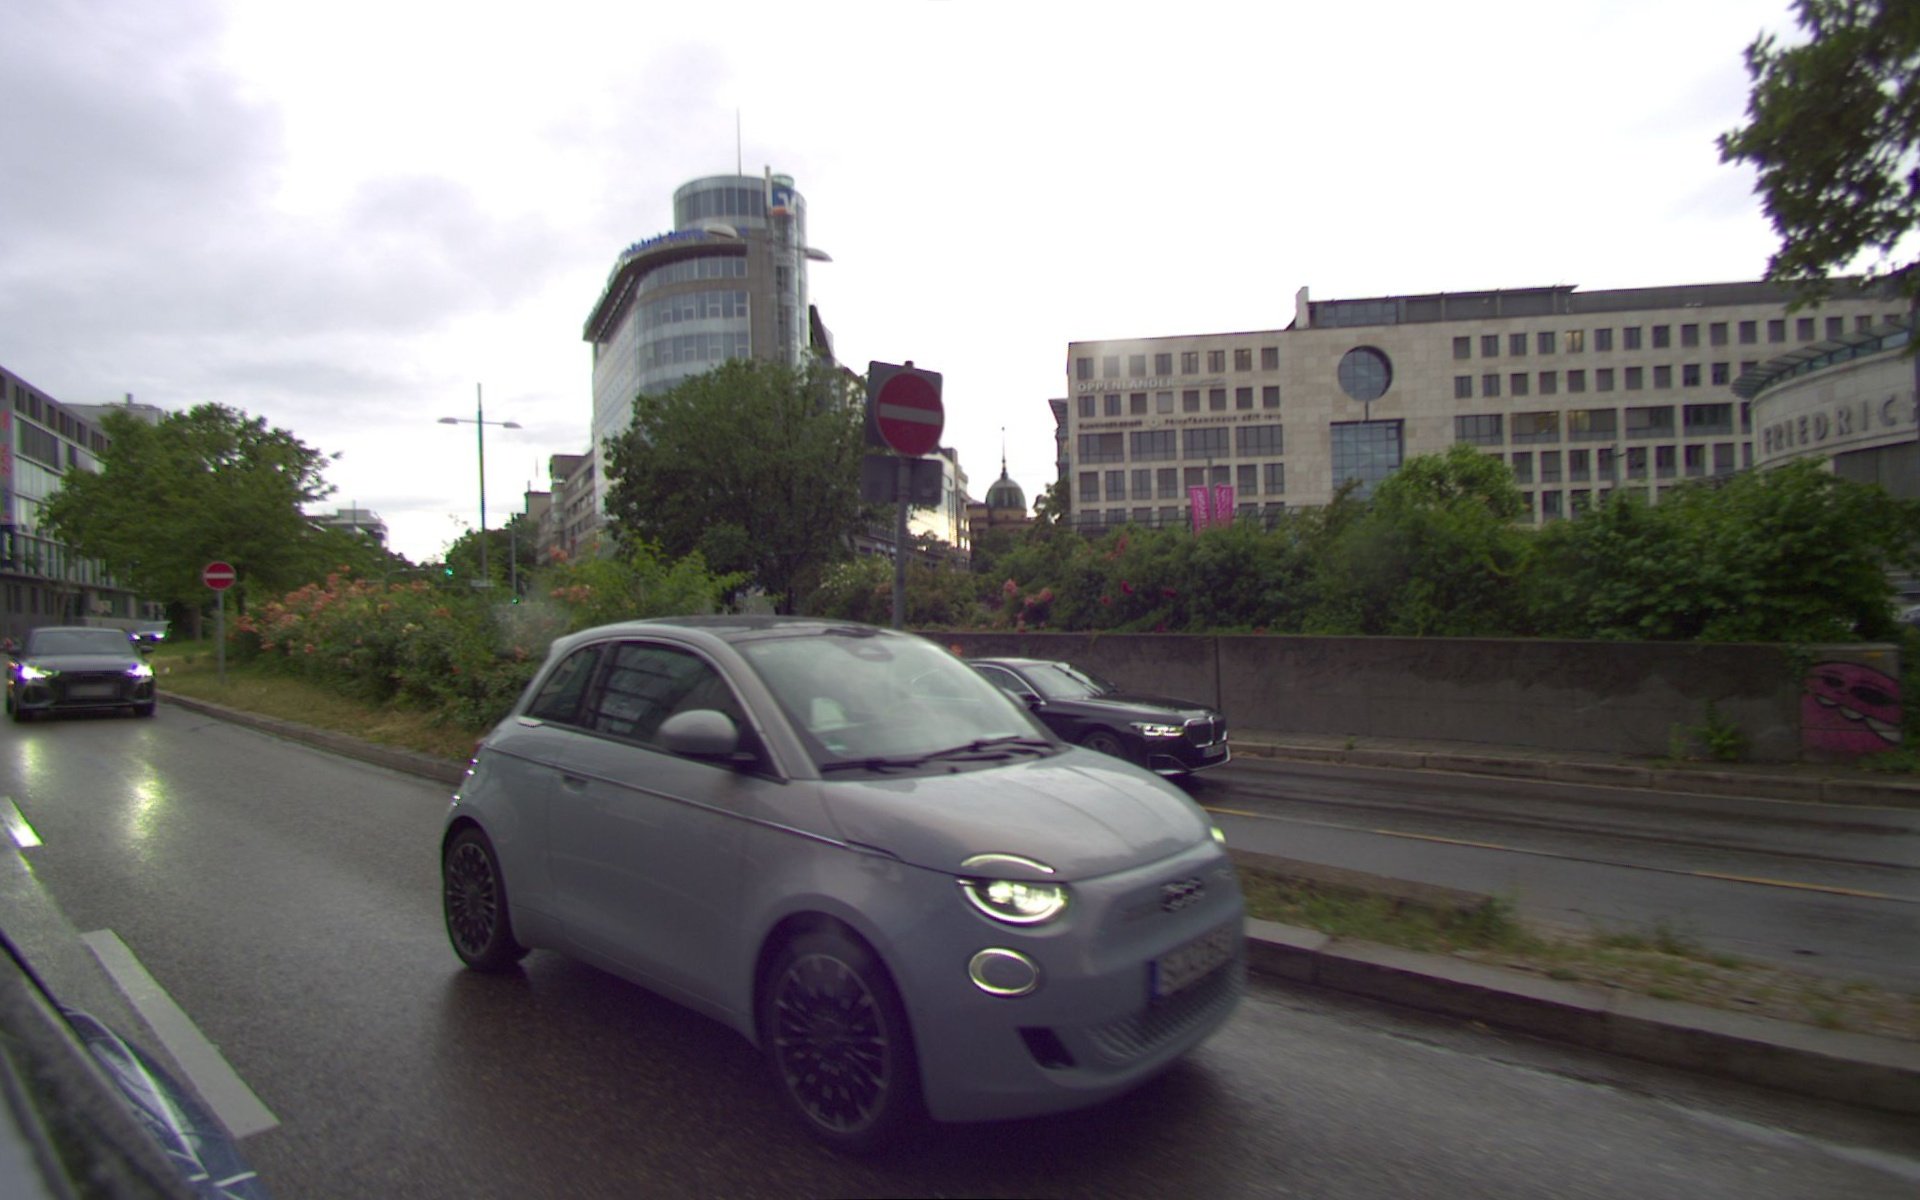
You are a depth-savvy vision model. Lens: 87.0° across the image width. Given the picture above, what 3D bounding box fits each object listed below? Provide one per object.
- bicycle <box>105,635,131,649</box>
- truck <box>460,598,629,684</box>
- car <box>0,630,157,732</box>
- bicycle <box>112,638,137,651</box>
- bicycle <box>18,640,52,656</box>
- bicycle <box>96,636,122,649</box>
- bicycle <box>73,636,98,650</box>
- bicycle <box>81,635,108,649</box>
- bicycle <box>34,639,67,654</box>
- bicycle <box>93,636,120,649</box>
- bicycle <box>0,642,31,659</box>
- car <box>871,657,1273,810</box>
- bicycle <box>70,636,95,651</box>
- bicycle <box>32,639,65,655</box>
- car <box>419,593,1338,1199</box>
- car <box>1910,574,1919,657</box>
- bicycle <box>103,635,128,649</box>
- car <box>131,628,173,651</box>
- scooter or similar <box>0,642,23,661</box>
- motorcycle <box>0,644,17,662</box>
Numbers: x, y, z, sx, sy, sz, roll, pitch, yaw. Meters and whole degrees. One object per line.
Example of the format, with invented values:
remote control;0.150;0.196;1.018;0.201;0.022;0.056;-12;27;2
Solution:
bicycle;-77.098;3.830;92.672;1.706;1.192;0.691;0;-1;-32
truck;-14.416;1.306;34.653;3.323;2.529;8.494;-1;-1;-37
car;-15.710;1.333;17.935;1.839;1.529;4.348;-1;-1;-45
bicycle;-77.794;4.137;94.263;1.706;1.192;0.691;0;-1;-32
bicycle;-70.096;3.622;76.733;1.770;1.116;0.672;-3;1;-32
bicycle;-76.424;3.815;90.913;1.706;1.149;0.691;0;-1;-32
bicycle;-74.108;3.622;85.738;1.513;1.149;0.691;-1;0;-32
bicycle;-74.612;3.622;87.254;1.682;1.149;0.691;-1;0;-32
bicycle;-71.016;3.634;79.012;1.769;1.076;0.558;-3;1;-31
bicycle;-75.938;3.789;90.057;1.706;1.149;0.691;0;-1;-32
bicycle;-67.995;3.613;72.695;1.770;1.116;0.672;-3;1;-32
car;1.154;1.511;12.716;1.738;1.502;5.084;1;-4;-43
bicycle;-73.724;3.621;85.028;1.513;1.149;0.664;-1;0;-32
bicycle;-70.689;3.640;78.465;1.769;1.076;0.558;-3;1;-31
car;-0.566;0.798;3.959;3.502;1.502;1.574;-2;-3;41
car;21.001;0.266;19.016;1.639;1.652;4.503;-1;0;-44
bicycle;-76.635;3.811;91.855;1.706;1.192;0.691;0;-1;-32
car;-60.135;2.930;75.355;1.769;1.521;4.513;-2;0;-30
scooter or similar;-66.767;3.627;70.719;1.767;1.252;0.598;-3;1;-32
motorcycle;-66.273;3.681;69.699;1.767;1.148;0.598;-3;1;-32
